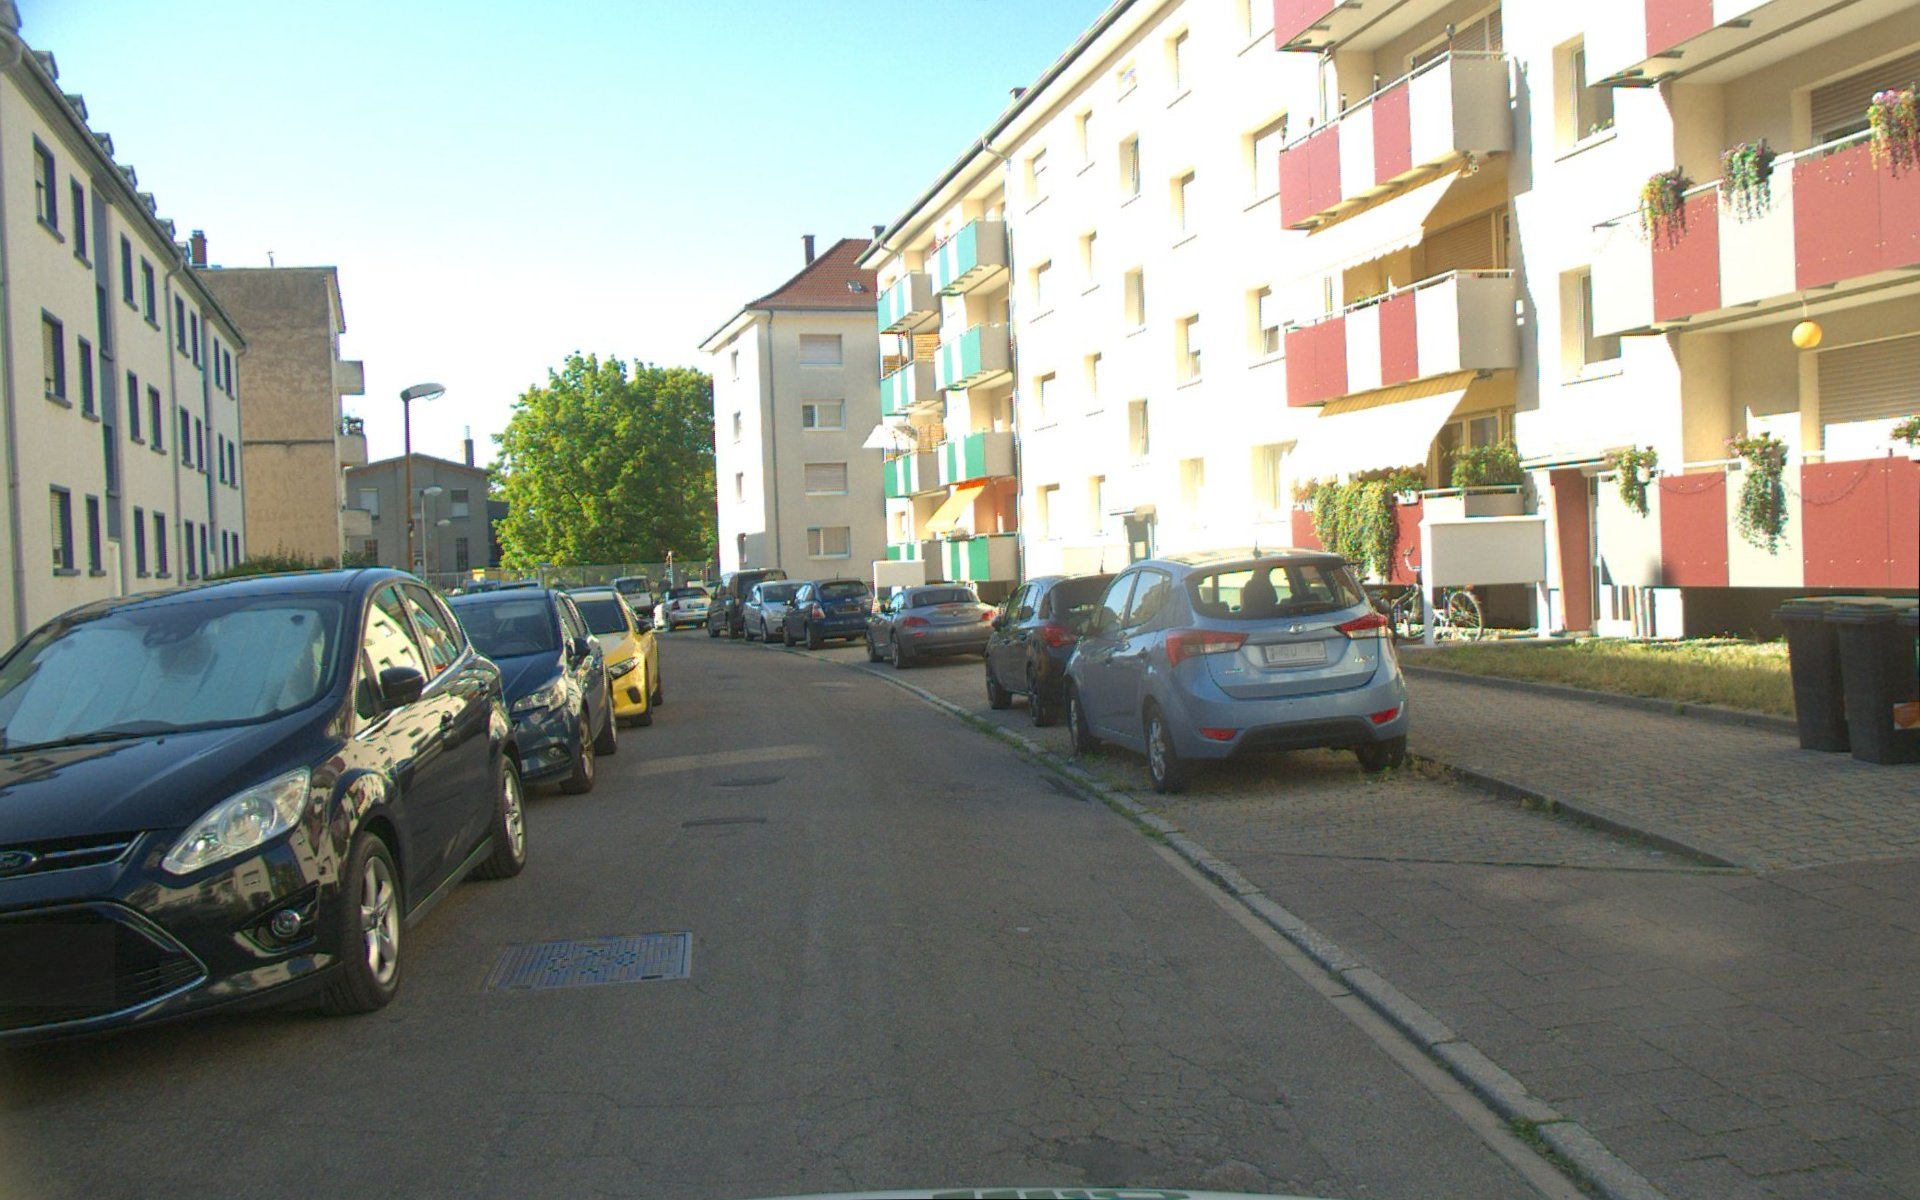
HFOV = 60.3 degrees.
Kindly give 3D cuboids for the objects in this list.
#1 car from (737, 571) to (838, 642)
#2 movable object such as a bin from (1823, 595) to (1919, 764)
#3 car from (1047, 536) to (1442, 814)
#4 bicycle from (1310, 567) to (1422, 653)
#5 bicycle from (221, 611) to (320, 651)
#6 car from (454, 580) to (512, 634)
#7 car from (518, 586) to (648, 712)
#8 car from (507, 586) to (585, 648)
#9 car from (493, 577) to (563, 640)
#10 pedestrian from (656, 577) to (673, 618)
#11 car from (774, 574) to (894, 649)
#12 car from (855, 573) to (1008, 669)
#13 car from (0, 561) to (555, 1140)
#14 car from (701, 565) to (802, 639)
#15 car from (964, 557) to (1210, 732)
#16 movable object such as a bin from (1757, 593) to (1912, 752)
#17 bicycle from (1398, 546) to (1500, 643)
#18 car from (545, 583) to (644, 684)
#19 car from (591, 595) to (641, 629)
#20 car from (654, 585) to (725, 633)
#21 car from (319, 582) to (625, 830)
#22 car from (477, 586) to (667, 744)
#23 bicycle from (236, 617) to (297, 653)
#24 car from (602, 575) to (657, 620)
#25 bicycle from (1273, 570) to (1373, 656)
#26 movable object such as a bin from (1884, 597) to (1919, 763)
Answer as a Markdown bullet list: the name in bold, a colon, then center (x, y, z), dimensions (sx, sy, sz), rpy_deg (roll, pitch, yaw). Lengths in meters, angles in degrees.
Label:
- **car**: center (-4.401, 0.156, 41.706), dimensions (1.656, 1.615, 3.991), rpy_deg (-4, 1, -18)
- **movable object such as a bin**: center (5.505, 0.452, 9.678), dimensions (0.573, 0.914, 0.517), rpy_deg (-4, 1, -9)
- **car**: center (1.976, 0.434, 12.758), dimensions (1.733, 1.663, 4.033), rpy_deg (-4, 2, -9)
- **bicycle**: center (5.255, 0.102, 21.532), dimensions (0.606, 0.994, 1.891), rpy_deg (-6, 3, -11)
- **bicycle**: center (-20.146, 0.898, 48.359), dimensions (2.635, 1.150, 0.767), rpy_deg (0, 0, -26)
- **car**: center (-19.882, 0.286, 68.854), dimensions (1.964, 2.048, 4.429), rpy_deg (-4, 1, -19)
- **car**: center (-5.336, 0.612, 23.537), dimensions (1.542, 1.489, 4.249), rpy_deg (-4, 1, -12)
- **car**: center (-11.170, 0.457, 44.435), dimensions (1.634, 1.468, 3.850), rpy_deg (-4, 1, -19)
- **car**: center (-14.201, 0.284, 54.216), dimensions (1.868, 1.887, 4.172), rpy_deg (-3, 0, -19)
- **pedestrian**: center (-13.798, -0.113, 77.262), dimensions (0.642, 1.847, 0.613), rpy_deg (-4, 1, -9)
- **car**: center (-2.891, 0.244, 37.098), dimensions (1.710, 1.456, 4.335), rpy_deg (-5, 1, -17)
- **car**: center (-0.569, 0.317, 28.223), dimensions (1.657, 1.386, 4.225), rpy_deg (-5, 1, -13)
- **car**: center (-2.927, 0.717, 6.852), dimensions (1.661, 1.587, 4.153), rpy_deg (-6, 2, -5)
- **car**: center (-5.936, 0.089, 46.666), dimensions (1.869, 1.887, 4.318), rpy_deg (-3, 0, -20)
- **car**: center (1.247, 0.409, 17.908), dimensions (1.704, 1.534, 3.877), rpy_deg (-5, 1, -9)
- **movable object such as a bin**: center (5.417, 0.433, 10.264), dimensions (0.573, 0.915, 0.584), rpy_deg (-4, 1, -9)
- **bicycle**: center (6.303, -0.072, 21.407), dimensions (0.400, 1.170, 1.757), rpy_deg (-4, 1, -12)
- **car**: center (-6.359, 0.550, 28.972), dimensions (1.453, 1.502, 3.621), rpy_deg (-6, 1, -11)
- **car**: center (-16.013, 0.568, 76.808), dimensions (1.739, 1.386, 4.072), rpy_deg (-4, 1, -19)
- **car**: center (-9.277, 0.280, 56.549), dimensions (1.691, 1.387, 4.034), rpy_deg (-4, 2, -18)
- **car**: center (-3.586, 0.663, 12.821), dimensions (1.663, 1.470, 4.012), rpy_deg (-4, 2, -9)
- **car**: center (-4.191, 0.620, 18.403), dimensions (1.663, 1.413, 4.148), rpy_deg (-4, 1, -9)
- **bicycle**: center (-21.282, 1.064, 50.764), dimensions (1.621, 0.953, 0.545), rpy_deg (-4, 1, -17)
- **car**: center (-14.405, -0.085, 71.874), dimensions (1.739, 1.769, 4.072), rpy_deg (-4, 1, -19)
- **bicycle**: center (4.665, 0.159, 21.364), dimensions (0.489, 1.037, 1.836), rpy_deg (-4, 1, -12)
- **movable object such as a bin**: center (5.595, 0.432, 9.108), dimensions (0.573, 0.903, 0.639), rpy_deg (-4, 1, -9)
